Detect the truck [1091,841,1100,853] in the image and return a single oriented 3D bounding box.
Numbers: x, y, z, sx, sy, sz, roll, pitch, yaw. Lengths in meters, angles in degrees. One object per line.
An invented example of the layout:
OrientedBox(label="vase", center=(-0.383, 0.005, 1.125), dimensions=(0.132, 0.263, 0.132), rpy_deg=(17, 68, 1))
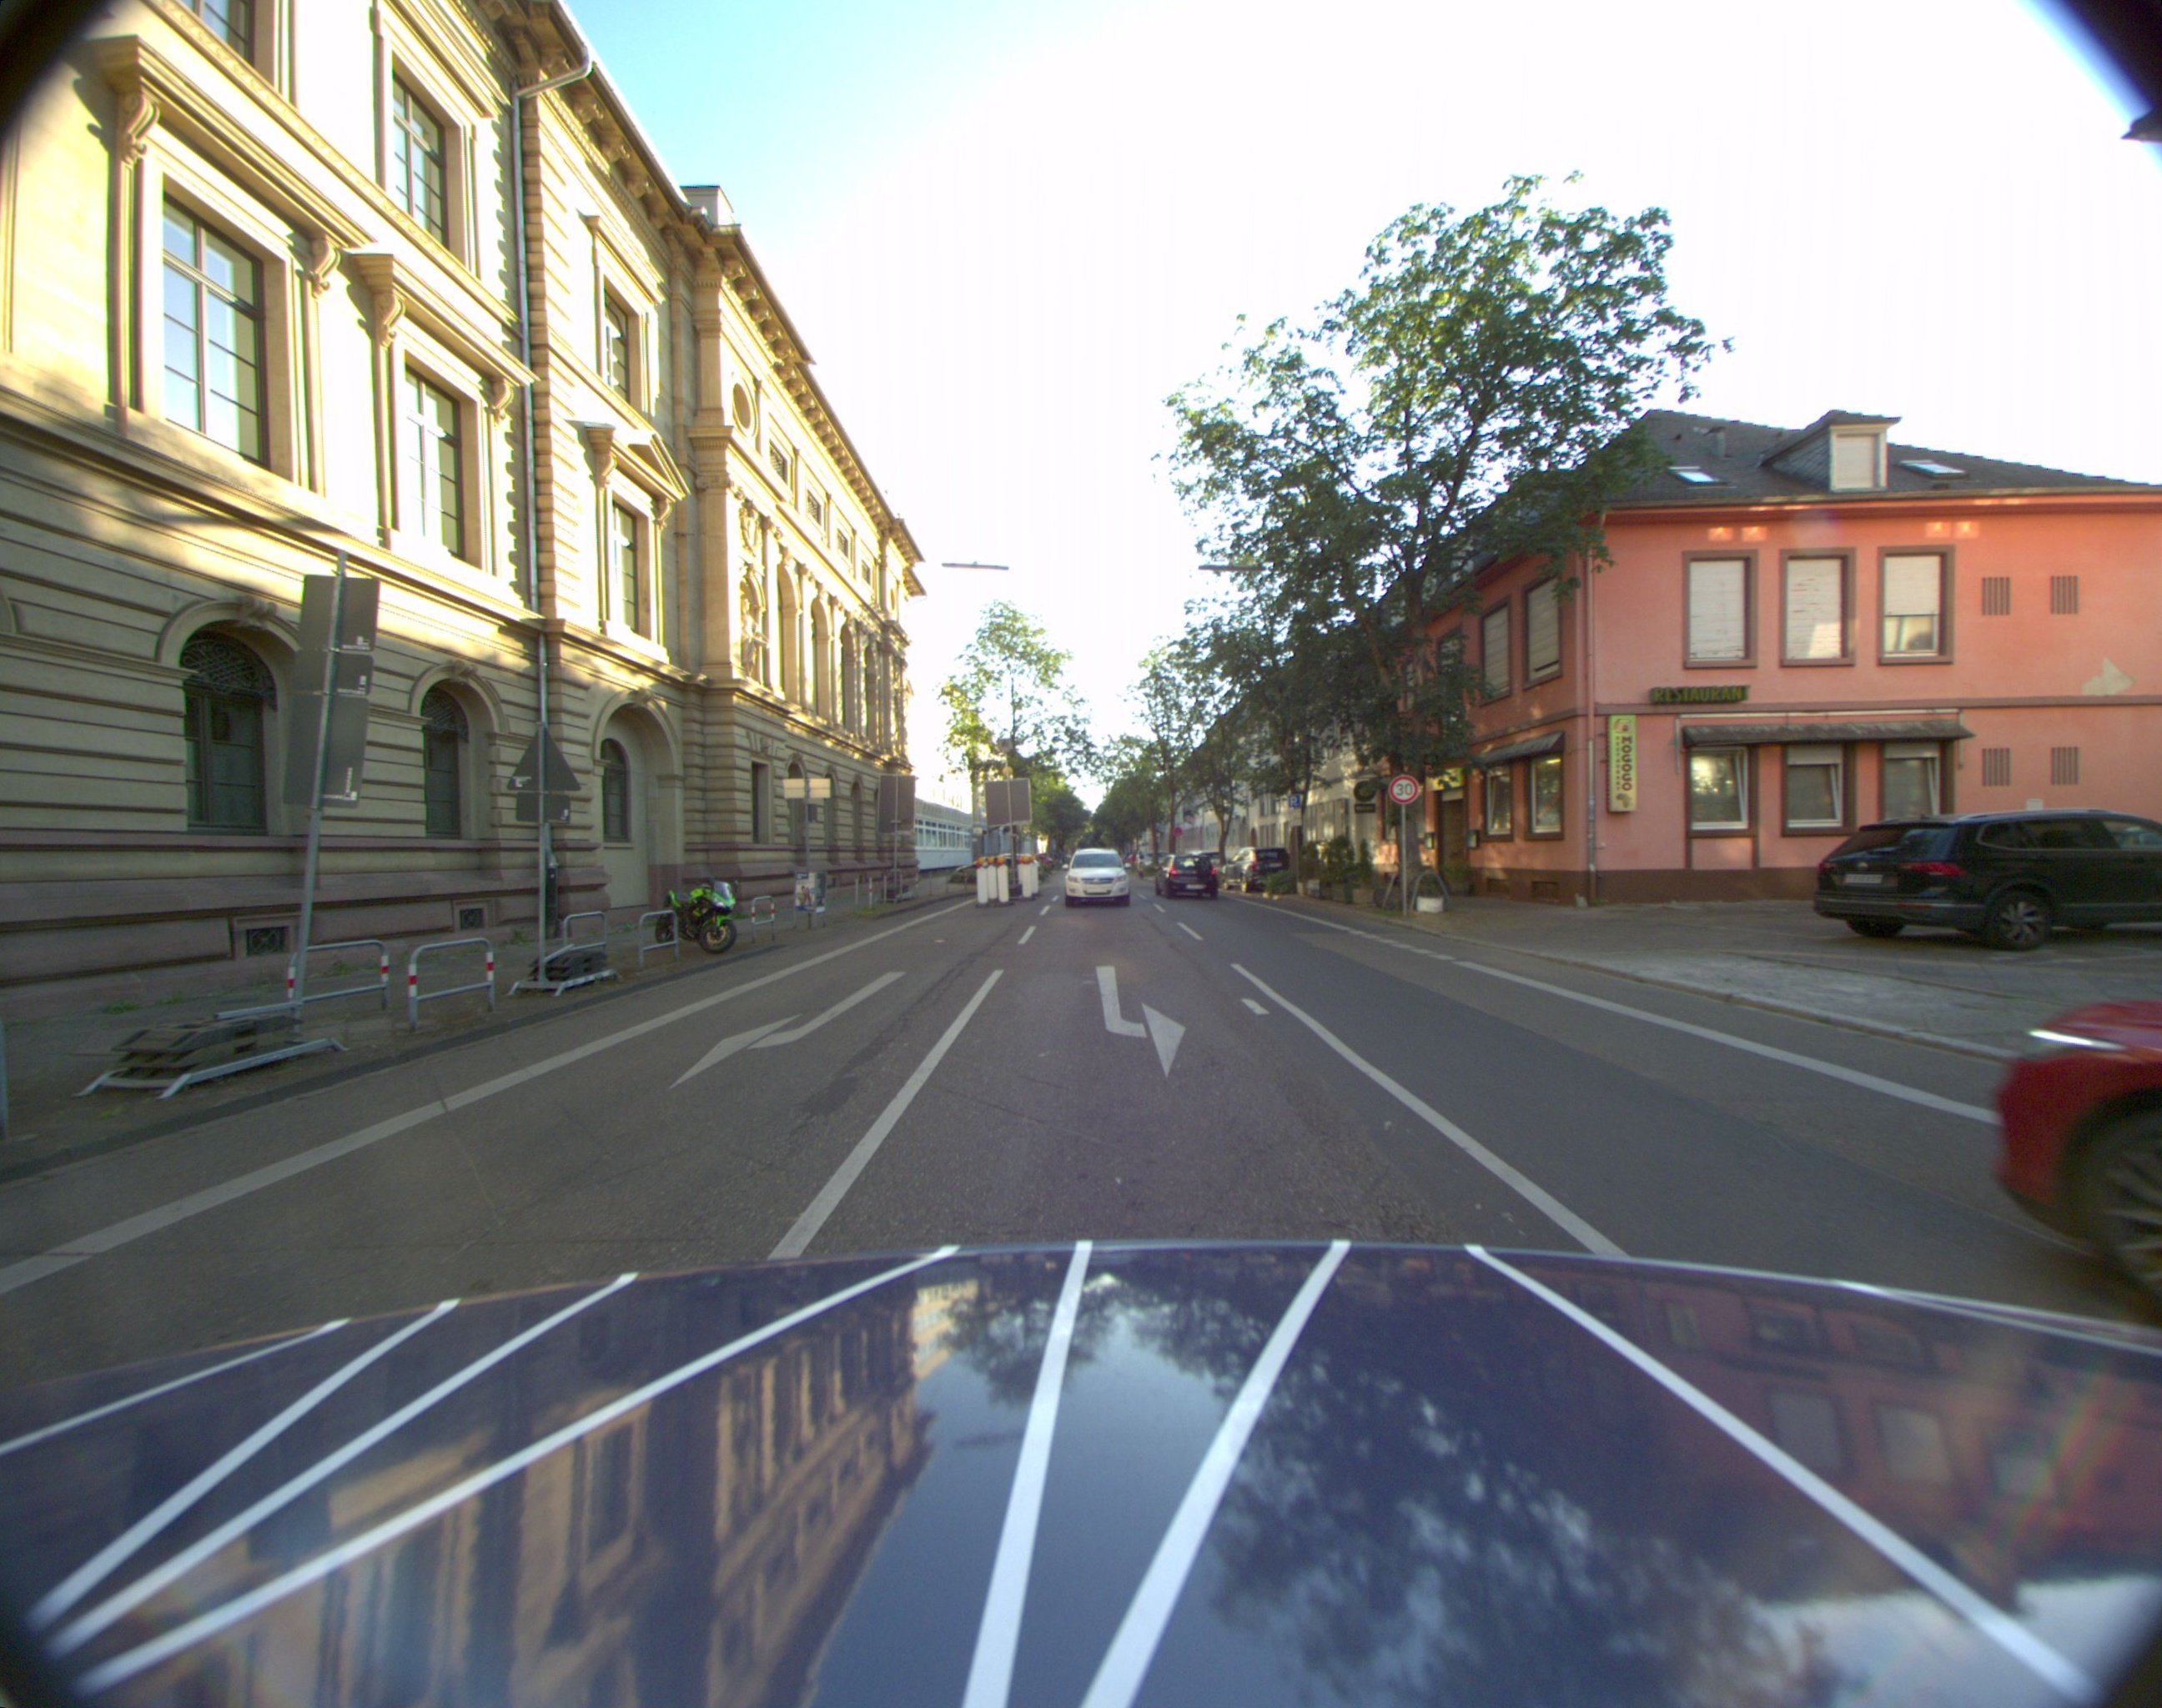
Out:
OrientedBox(label="truck", center=(4.617, -2.243, 238.029), dimensions=(2.748, 3.723, 7.855), rpy_deg=(-1, 1, 2))

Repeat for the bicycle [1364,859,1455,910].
OrientedBox(label="bicycle", center=(7.603, 0.705, 17.604), dimensions=(1.872, 1.098, 0.610), rpy_deg=(-2, 1, -6))

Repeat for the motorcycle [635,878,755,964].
OrientedBox(label="motorcycle", center=(-6.326, 1.049, 12.420), dimensions=(2.098, 1.208, 0.711), rpy_deg=(1, 1, 30))

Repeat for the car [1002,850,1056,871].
OrientedBox(label="car", center=(-4.295, 0.549, 62.740), dimensions=(4.369, 1.615, 1.733), rpy_deg=(1, 1, -2))

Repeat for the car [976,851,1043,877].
OrientedBox(label="car", center=(-4.813, 0.659, 51.820), dimensions=(4.369, 1.633, 2.054), rpy_deg=(1, 1, -2))

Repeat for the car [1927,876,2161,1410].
OrientedBox(label="car", center=(4.107, 0.845, 0.411), dimensions=(1.835, 1.536, 4.846), rpy_deg=(0, 0, -1))

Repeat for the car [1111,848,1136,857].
OrientedBox(label="car", center=(7.508, -0.257, 134.970), dimensions=(4.230, 1.468, 1.969), rpy_deg=(-1, 1, -2))

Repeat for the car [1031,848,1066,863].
OrientedBox(label="car", center=(-4.147, 0.176, 97.297), dimensions=(4.369, 1.862, 1.733), rpy_deg=(0, 1, -2))

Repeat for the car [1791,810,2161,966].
OrientedBox(label="car", center=(12.183, 0.354, 9.718), dimensions=(4.429, 1.655, 1.863), rpy_deg=(-3, 0, -1))

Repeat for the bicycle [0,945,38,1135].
OrientedBox(label="bicycle", center=(-6.952, 1.129, 3.780), dimensions=(0.829, 1.128, 1.944), rpy_deg=(2, 0, 1))

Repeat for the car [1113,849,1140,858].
OrientedBox(label="car", center=(7.214, -0.080, 120.977), dimensions=(4.230, 1.468, 1.969), rpy_deg=(-1, 1, -2))

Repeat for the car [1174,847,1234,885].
OrientedBox(label="car", center=(6.263, 0.567, 39.170), dimensions=(1.833, 1.658, 4.654), rpy_deg=(-5, 1, -5))

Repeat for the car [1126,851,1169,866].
OrientedBox(label="car", center=(6.919, 0.453, 78.828), dimensions=(4.230, 1.499, 1.800), rpy_deg=(-1, 1, -2))

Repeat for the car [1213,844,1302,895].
OrientedBox(label="car", center=(6.973, 0.564, 30.630), dimensions=(1.833, 1.749, 5.045), rpy_deg=(-5, 1, -5))

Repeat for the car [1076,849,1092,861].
OrientedBox(label="car", center=(0.368, 0.106, 99.501), dimensions=(1.951, 1.546, 3.999), rpy_deg=(-1, 0, -1))

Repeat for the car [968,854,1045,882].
OrientedBox(label="car", center=(-4.392, 0.828, 45.352), dimensions=(4.368, 1.487, 1.672), rpy_deg=(1, 1, 0))

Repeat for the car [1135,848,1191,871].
OrientedBox(label="car", center=(6.493, 0.434, 60.645), dimensions=(4.230, 1.680, 1.800), rpy_deg=(-1, 1, -2))

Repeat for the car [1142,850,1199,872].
OrientedBox(label="car", center=(6.786, 0.507, 57.909), dimensions=(4.228, 1.536, 1.801), rpy_deg=(-1, 1, 3))

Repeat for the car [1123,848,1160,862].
OrientedBox(label="car", center=(7.381, 0.081, 93.041), dimensions=(4.230, 1.654, 1.800), rpy_deg=(-1, 1, -2))

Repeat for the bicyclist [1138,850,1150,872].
OrientedBox(label="bicyclist", center=(3.950, 0.420, 47.489), dimensions=(0.627, 1.357, 0.928), rpy_deg=(-1, 2, -3))

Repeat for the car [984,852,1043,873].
OrientedBox(label="car", center=(-5.082, 0.630, 57.735), dimensions=(4.369, 1.485, 1.886), rpy_deg=(0, 1, -2))

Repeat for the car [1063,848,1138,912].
OrientedBox(label="car", center=(0.541, 0.675, 22.353), dimensions=(1.957, 1.667, 4.542), rpy_deg=(-1, 1, 1))

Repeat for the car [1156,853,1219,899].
OrientedBox(label="car", center=(3.611, 0.727, 26.323), dimensions=(1.662, 1.463, 3.854), rpy_deg=(0, 0, 1))

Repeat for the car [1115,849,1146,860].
OrientedBox(label="car", center=(7.091, 0.042, 108.506), dimensions=(4.230, 1.468, 1.853), rpy_deg=(-1, 1, -2))

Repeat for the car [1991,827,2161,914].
OrientedBox(label="car", center=(20.456, 0.260, 14.581), dimensions=(3.809, 1.546, 1.886), rpy_deg=(-1, 1, -2))

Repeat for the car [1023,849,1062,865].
OrientedBox(label="car", center=(-4.285, 0.318, 85.660), dimensions=(4.369, 1.768, 1.733), rpy_deg=(1, 1, -2))

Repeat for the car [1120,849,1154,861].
OrientedBox(label="car", center=(7.192, 0.110, 97.698), dimensions=(4.230, 1.509, 1.759), rpy_deg=(-1, 1, -2))

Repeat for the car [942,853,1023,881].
OrientedBox(label="car", center=(-5.481, 0.732, 42.731), dimensions=(4.369, 1.456, 1.833), rpy_deg=(1, 1, -3))

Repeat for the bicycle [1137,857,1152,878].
OrientedBox(label="bicycle", center=(3.965, 0.832, 47.412), dimensions=(0.626, 1.149, 2.051), rpy_deg=(-1, 2, -3))
